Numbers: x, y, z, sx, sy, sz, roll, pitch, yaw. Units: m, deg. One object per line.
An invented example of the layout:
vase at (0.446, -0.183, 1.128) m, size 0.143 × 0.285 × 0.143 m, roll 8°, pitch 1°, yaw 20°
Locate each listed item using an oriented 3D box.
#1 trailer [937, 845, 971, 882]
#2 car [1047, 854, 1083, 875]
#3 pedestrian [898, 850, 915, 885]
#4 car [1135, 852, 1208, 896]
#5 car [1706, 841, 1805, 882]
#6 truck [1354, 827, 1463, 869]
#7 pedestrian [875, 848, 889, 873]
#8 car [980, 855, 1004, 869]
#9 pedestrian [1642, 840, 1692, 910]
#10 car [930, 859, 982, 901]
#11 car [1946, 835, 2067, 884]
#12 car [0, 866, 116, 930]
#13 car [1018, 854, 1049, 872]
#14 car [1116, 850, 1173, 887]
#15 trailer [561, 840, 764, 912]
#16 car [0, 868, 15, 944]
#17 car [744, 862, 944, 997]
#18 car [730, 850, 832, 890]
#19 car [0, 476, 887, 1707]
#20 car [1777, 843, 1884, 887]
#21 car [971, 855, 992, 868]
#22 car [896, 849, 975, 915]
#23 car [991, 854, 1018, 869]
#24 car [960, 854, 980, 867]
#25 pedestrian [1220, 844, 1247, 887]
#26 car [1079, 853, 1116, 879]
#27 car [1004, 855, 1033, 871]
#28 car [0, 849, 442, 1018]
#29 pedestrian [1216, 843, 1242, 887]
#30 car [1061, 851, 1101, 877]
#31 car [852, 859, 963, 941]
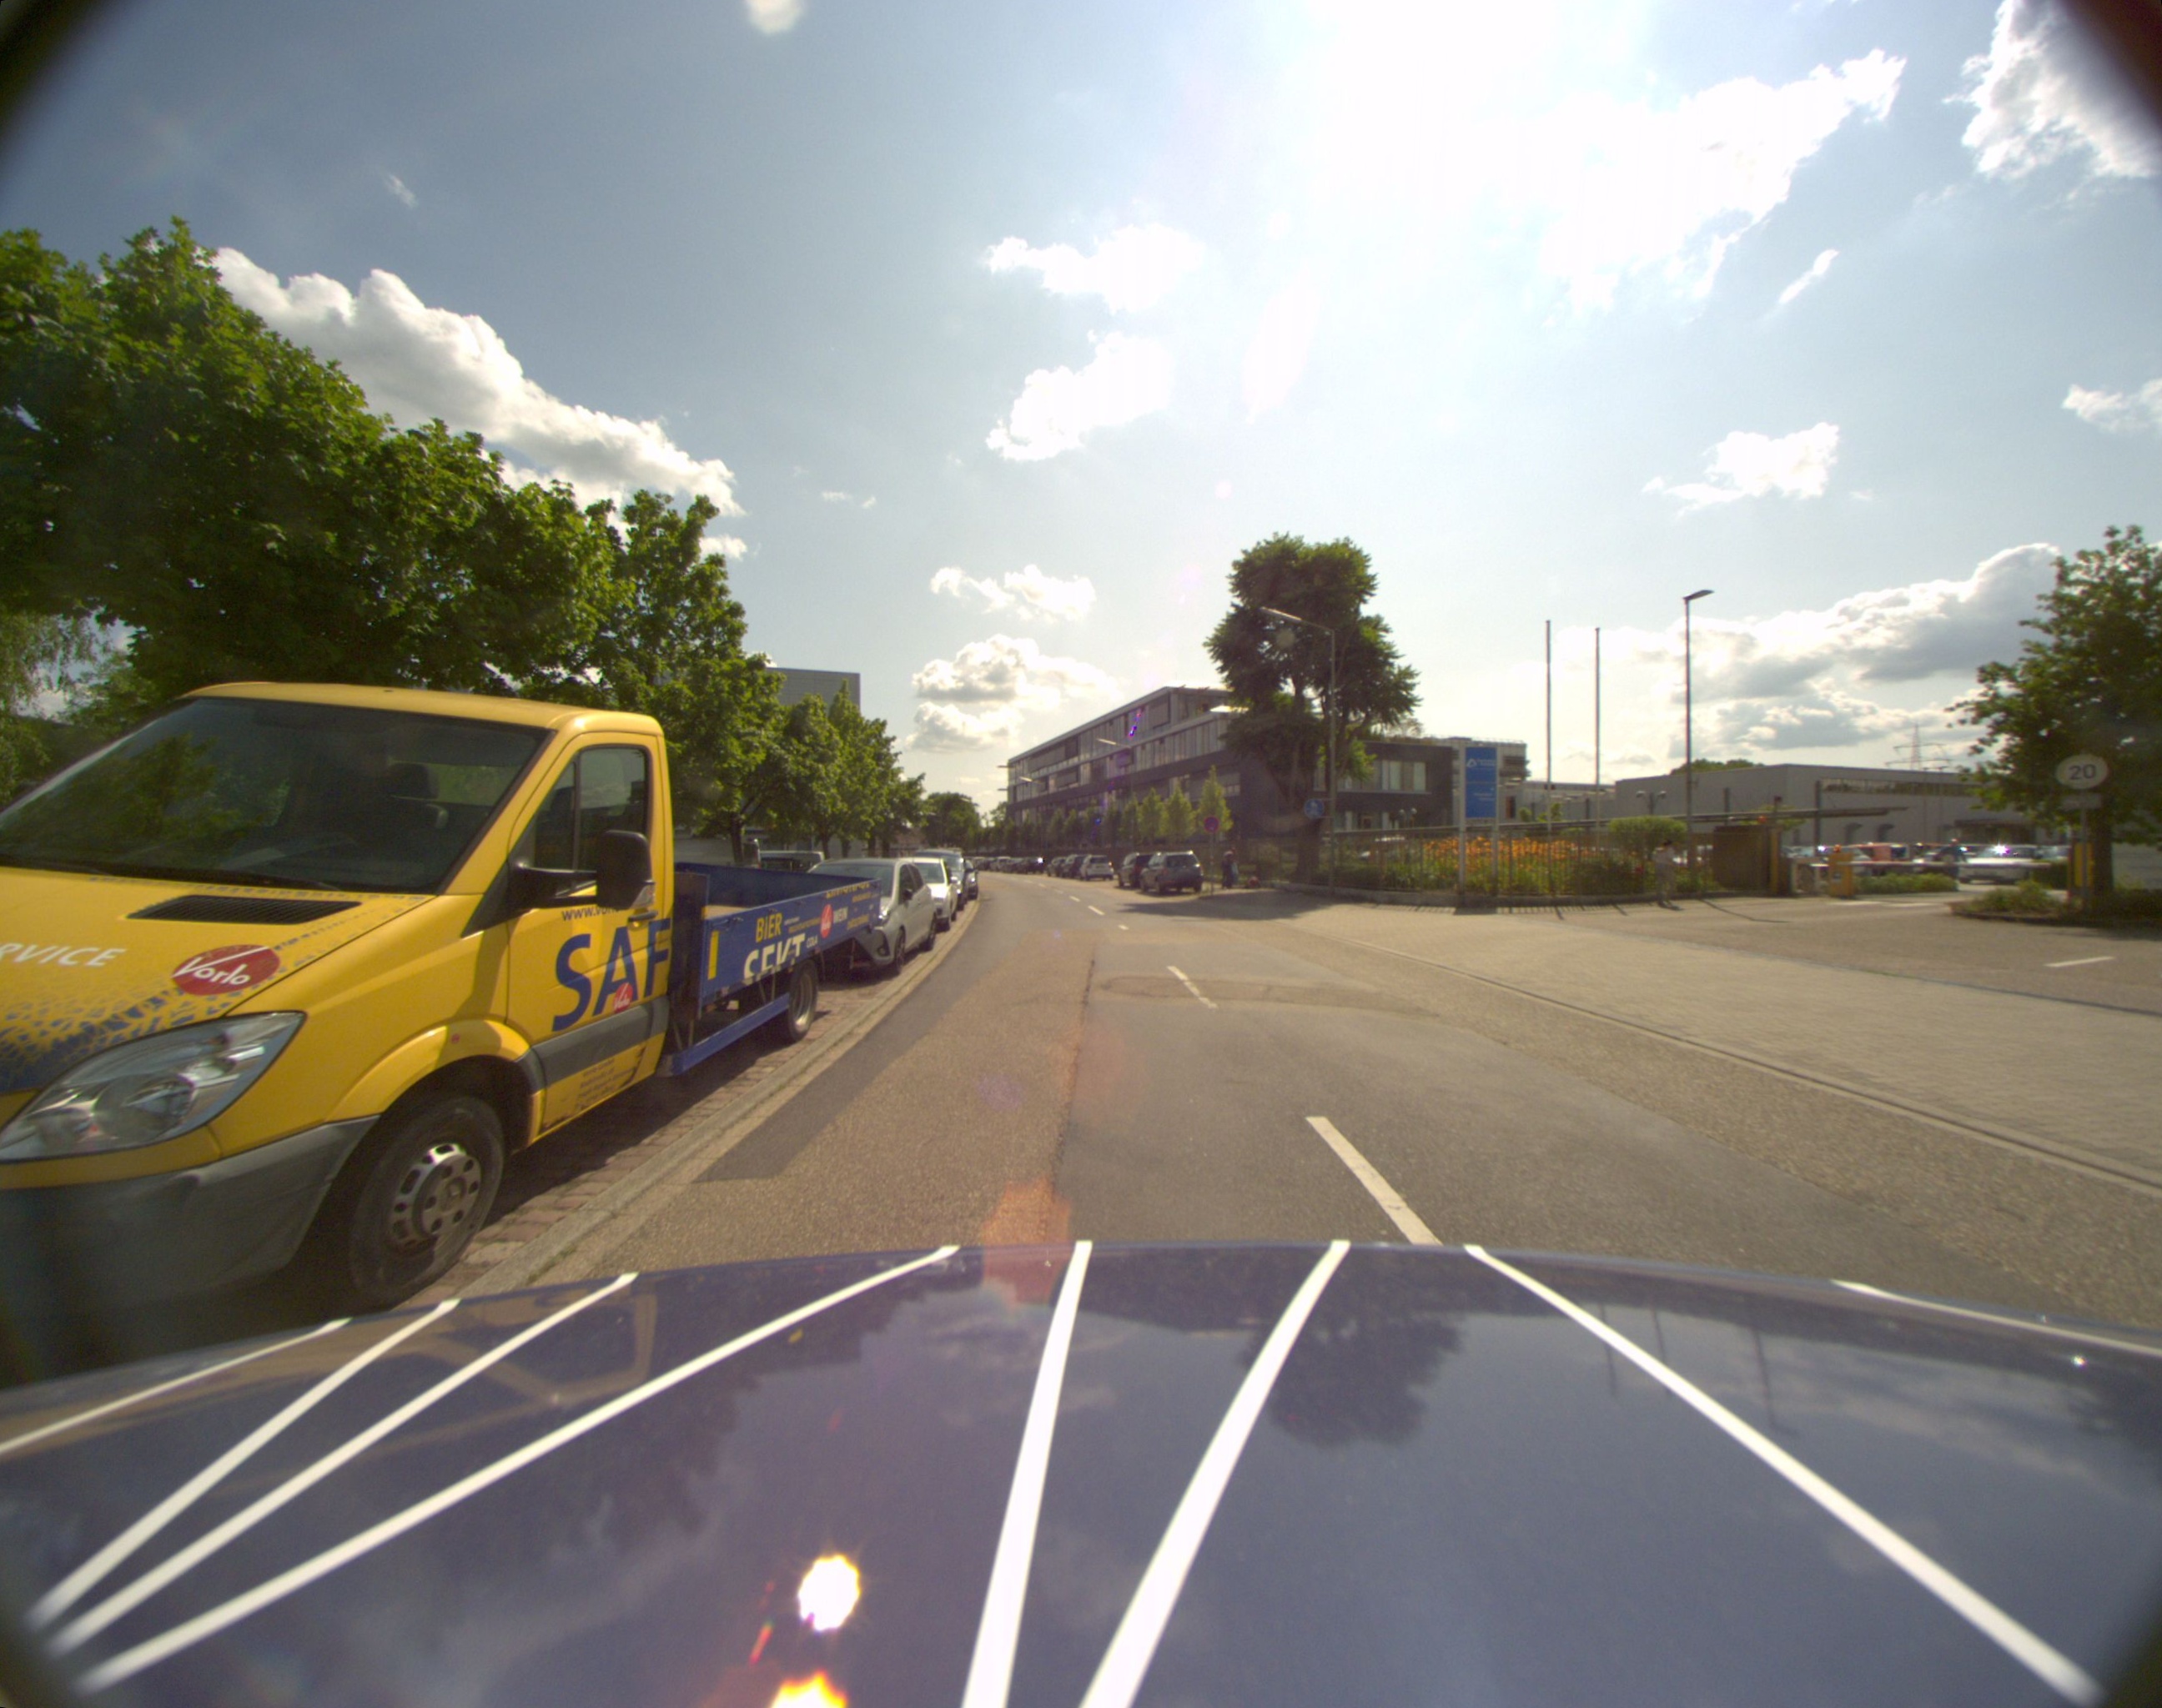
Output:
trailer at (-7.675, 0.529, 45.728) m, size 1.752 × 2.055 × 3.943 m, roll 2°, pitch 0°, yaw -12°
car at (-1.230, 0.786, 56.908) m, size 1.740 × 1.437 × 3.925 m, roll -2°, pitch 1°, yaw -16°
pedestrian at (-8.523, 0.674, 37.200) m, size 0.723 × 1.683 × 0.739 m, roll 2°, pitch 0°, yaw -11°
car at (3.672, 0.746, 31.673) m, size 1.805 × 1.641 × 4.685 m, roll -2°, pitch 1°, yaw -9°
car at (31.483, 0.319, 35.475) m, size 4.077 × 1.716 × 1.756 m, roll -2°, pitch 1°, yaw -21°
truck at (21.912, -0.406, 50.822) m, size 6.941 × 2.642 × 2.401 m, roll -1°, pitch 0°, yaw -20°
pedestrian at (-13.216, 0.422, 50.452) m, size 0.729 × 1.636 × 0.579 m, roll 4°, pitch -1°, yaw -13°
car at (-9.608, 0.846, 81.766) m, size 1.673 × 1.396 × 3.993 m, roll -1°, pitch 0°, yaw -21°
pedestrian at (14.507, 0.497, 18.830) m, size 0.550 × 1.683 × 0.732 m, roll -1°, pitch 4°, yaw -18°
car at (-4.948, 0.958, 30.239) m, size 1.847 × 1.452 × 4.864 m, roll 1°, pitch 0°, yaw -9°
car at (35.255, 0.189, 28.950) m, size 4.003 × 1.679 × 1.745 m, roll -2°, pitch 1°, yaw -21°
car at (-29.927, 1.211, 20.922) m, size 3.999 × 1.656 × 1.856 m, roll -1°, pitch 1°, yaw -6°
car at (-4.238, 0.774, 66.796) m, size 1.668 × 1.521 × 3.993 m, roll -2°, pitch 0°, yaw -19°
car at (3.012, 0.653, 37.064) m, size 1.781 × 1.672 × 4.226 m, roll -2°, pitch 1°, yaw -9°
trailer at (-12.770, 0.619, 23.502) m, size 5.063 × 2.070 × 2.060 m, roll 0°, pitch 1°, yaw -8°
car at (-22.523, 1.021, 13.721) m, size 4.170 × 1.428 × 1.729 m, roll -1°, pitch 0°, yaw 2°
car at (-3.152, 0.914, 10.926) m, size 1.690 × 1.486 × 3.947 m, roll 1°, pitch 1°, yaw -1°
car at (-15.102, 0.794, 38.504) m, size 4.483 × 1.954 × 1.998 m, roll 0°, pitch -1°, yaw -11°
car at (-3.188, 0.436, 4.782) m, size 2.162 × 2.450 × 6.639 m, roll 1°, pitch 1°, yaw 0°
car at (32.677, 0.461, 33.126) m, size 4.077 × 1.716 × 1.756 m, roll -2°, pitch 1°, yaw -21°
car at (-11.385, 0.805, 86.507) m, size 1.570 × 1.446 × 3.736 m, roll 0°, pitch 0°, yaw -20°
car at (-4.284, 0.746, 23.104) m, size 1.855 × 1.755 × 5.074 m, roll 1°, pitch 0°, yaw -6°
car at (-7.785, 0.766, 76.950) m, size 1.668 × 1.473 × 3.510 m, roll -2°, pitch 1°, yaw -22°
car at (-13.429, 0.812, 91.913) m, size 1.570 × 1.506 × 3.736 m, roll 0°, pitch 0°, yaw -20°
pedestrian at (6.099, 0.458, 30.479) m, size 0.845 × 1.682 × 0.830 m, roll -2°, pitch 1°, yaw -2°
car at (0.988, 0.705, 47.331) m, size 1.614 × 1.514 × 3.071 m, roll -1°, pitch 0°, yaw -12°
car at (-5.935, 0.795, 71.839) m, size 1.668 × 1.389 × 4.098 m, roll -2°, pitch 1°, yaw -19°
car at (-11.399, 0.955, 9.880) m, size 4.339 × 1.661 × 1.856 m, roll 5°, pitch 0°, yaw -6°
pedestrian at (6.161, 0.444, 31.610) m, size 0.830 × 1.751 × 0.845 m, roll -2°, pitch 1°, yaw -2°
car at (-0.044, 0.630, 51.763) m, size 1.740 × 1.646 × 4.305 m, roll -1°, pitch 0°, yaw -14°
car at (-3.633, 0.895, 16.725) m, size 1.838 × 1.484 × 4.653 m, roll 1°, pitch 0°, yaw -6°
